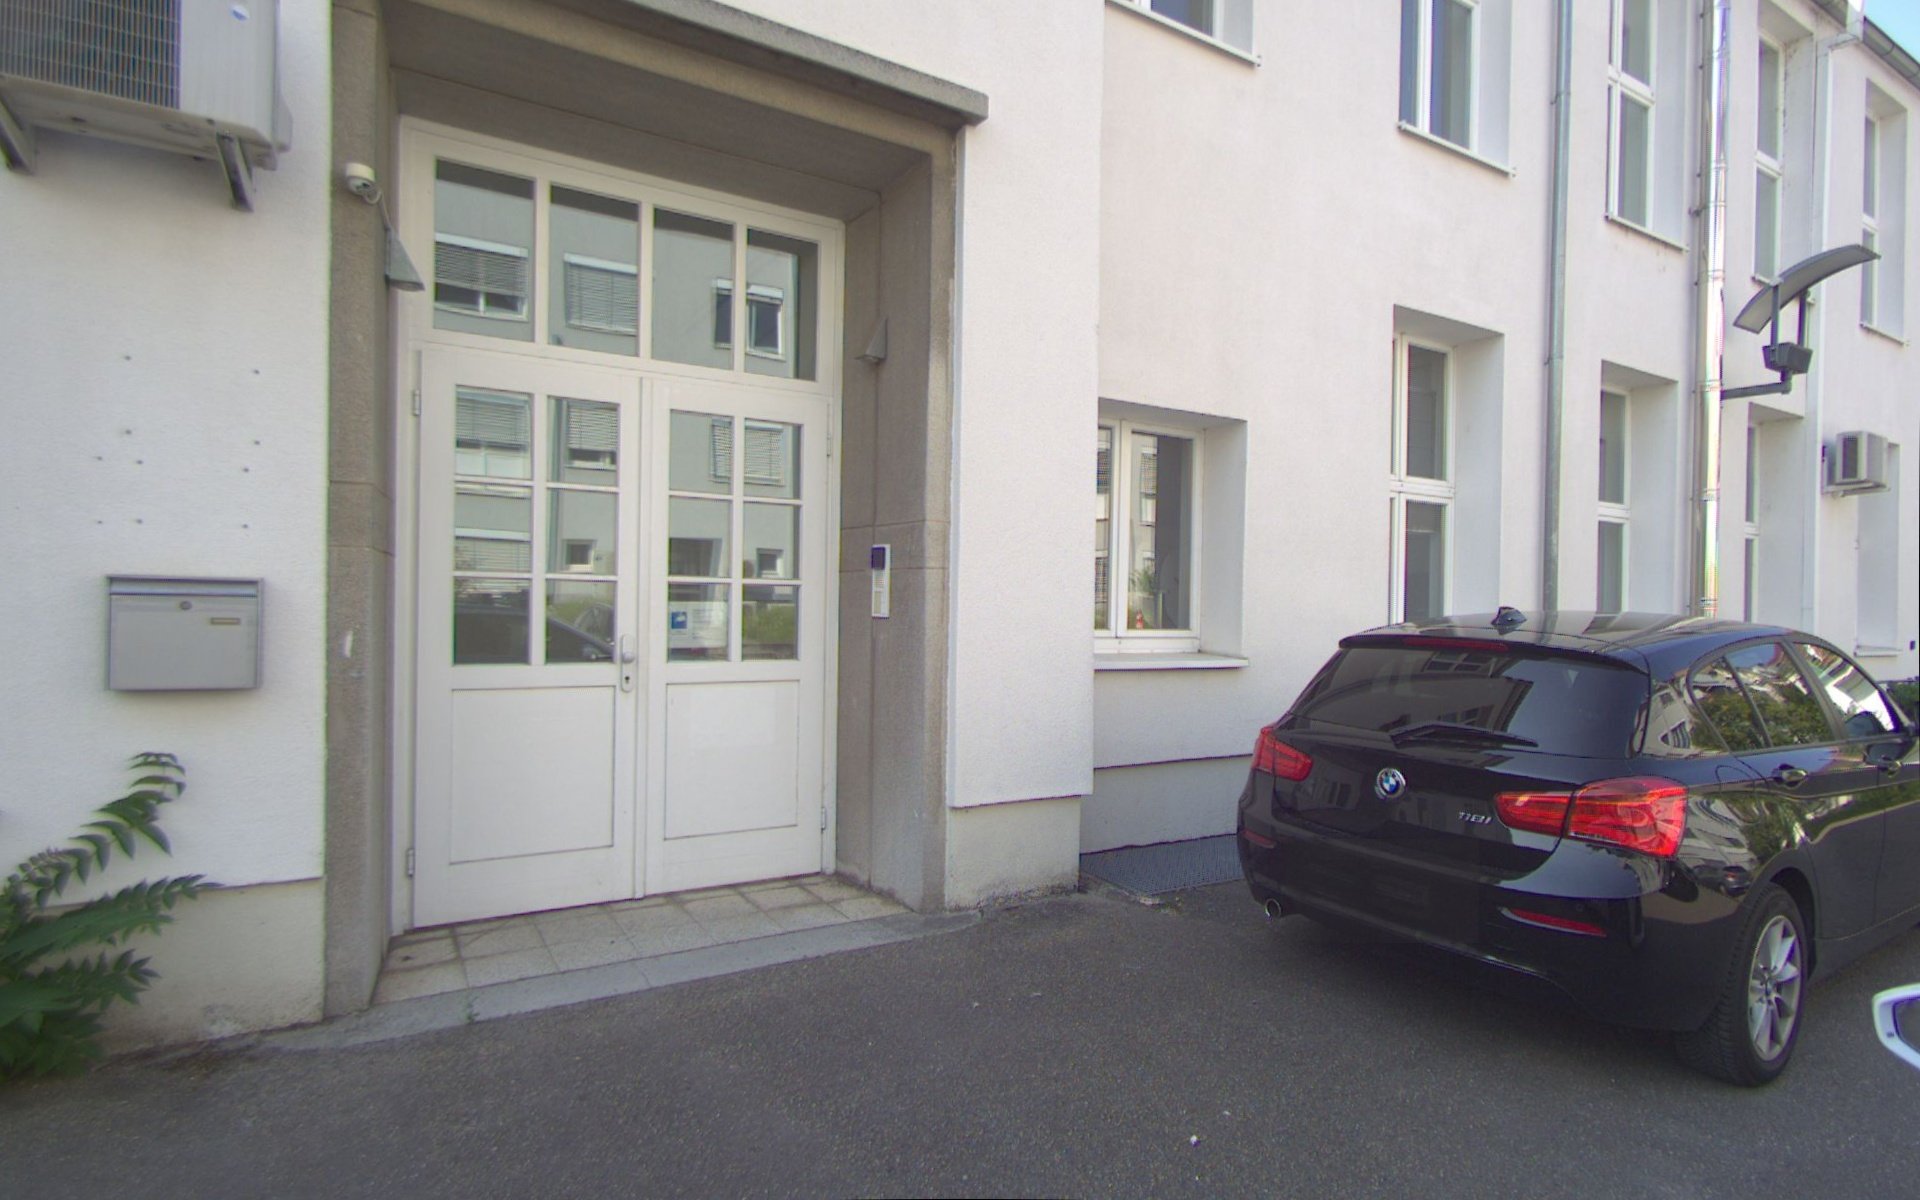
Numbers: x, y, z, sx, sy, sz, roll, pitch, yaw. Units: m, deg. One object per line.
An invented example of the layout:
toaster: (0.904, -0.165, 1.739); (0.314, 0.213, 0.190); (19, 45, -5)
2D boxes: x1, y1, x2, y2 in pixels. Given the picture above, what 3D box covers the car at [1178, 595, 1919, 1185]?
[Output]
car: (2.947, 0.778, 4.308); (3.881, 1.478, 1.678); (2, 0, -33)
